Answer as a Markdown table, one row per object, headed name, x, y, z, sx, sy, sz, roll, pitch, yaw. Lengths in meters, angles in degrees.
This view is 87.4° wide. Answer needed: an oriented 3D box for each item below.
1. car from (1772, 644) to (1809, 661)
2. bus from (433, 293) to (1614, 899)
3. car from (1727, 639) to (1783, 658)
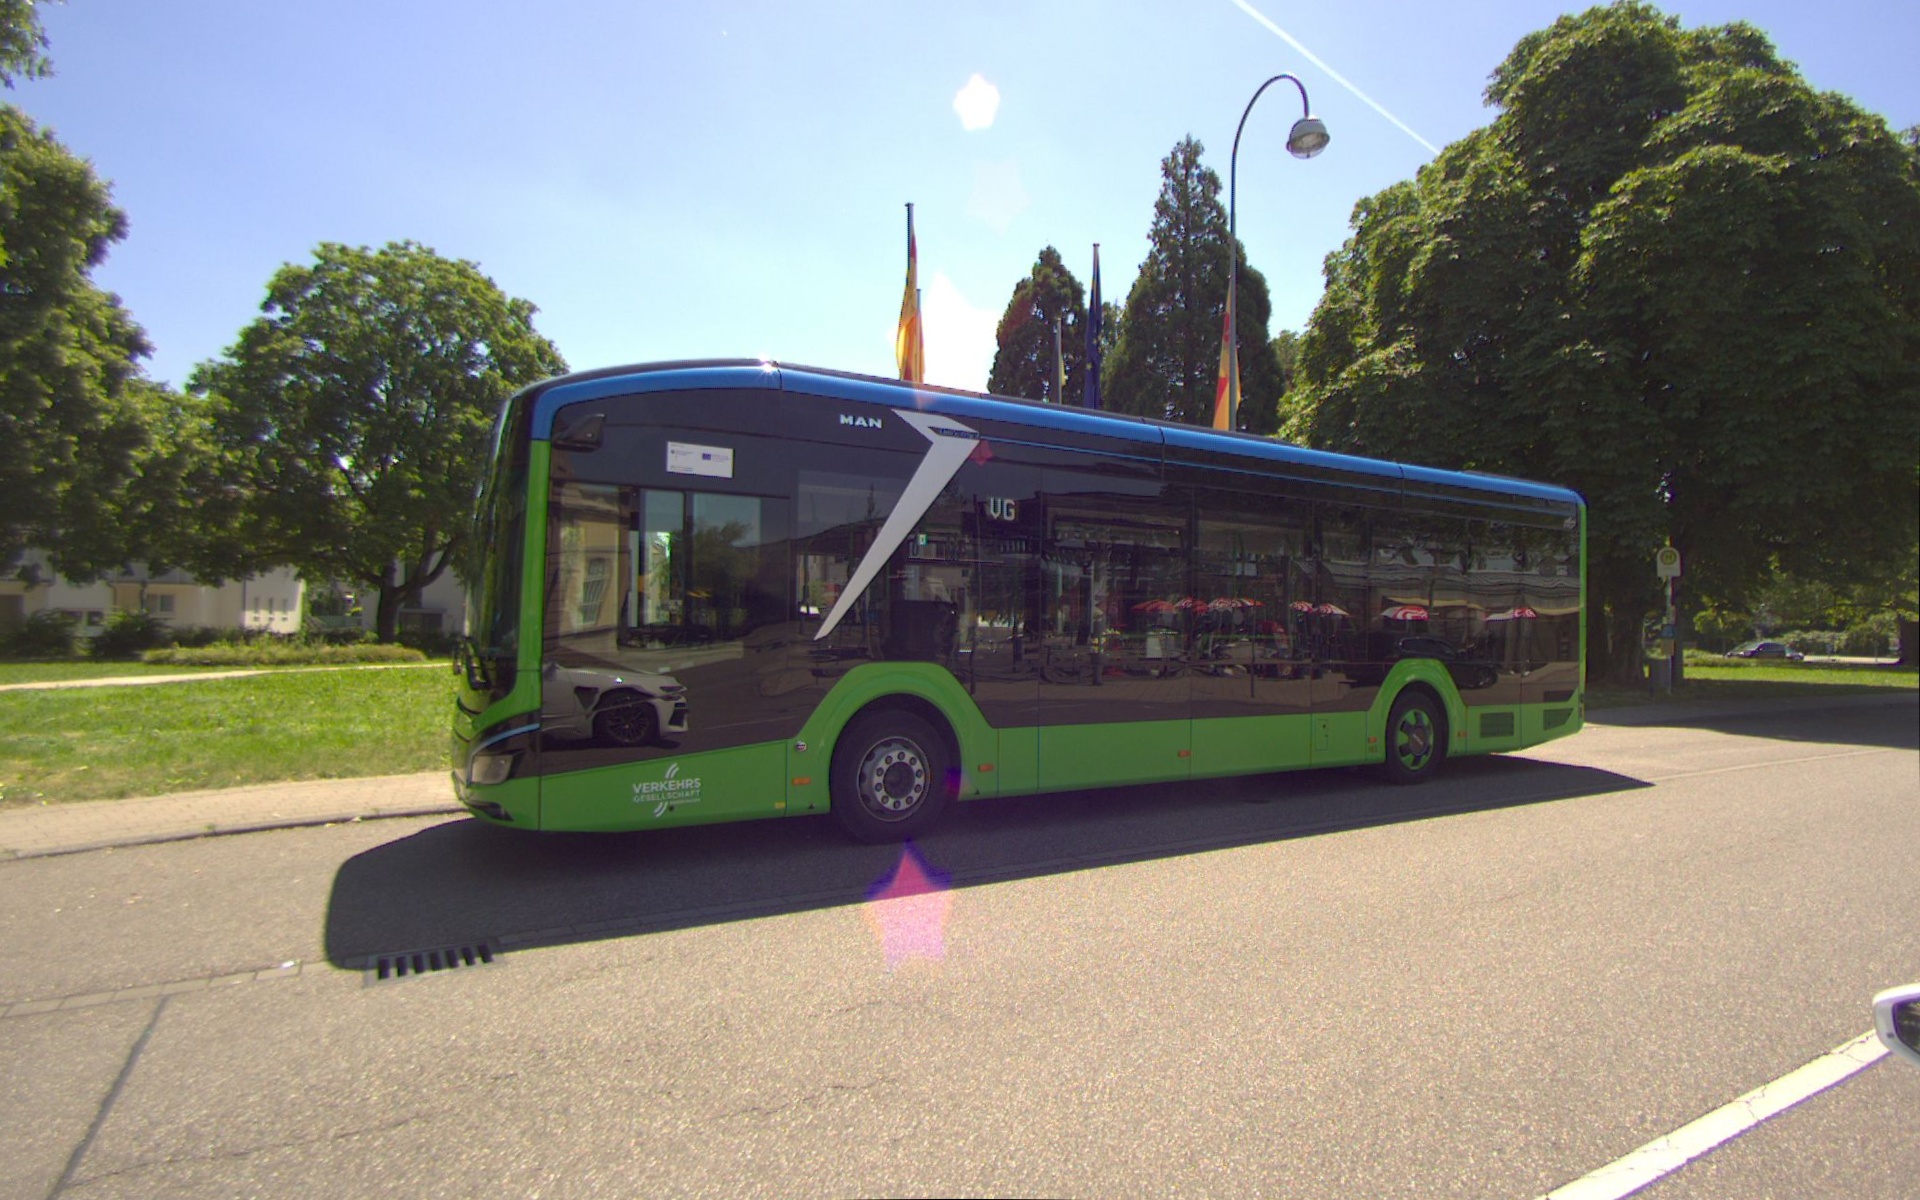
| name | x | y | z | sx | sy | sz | roll | pitch | yaw |
| --- | --- | --- | --- | --- | --- | --- | --- | --- | --- |
| car | 71.328 | 4.494 | 86.252 | 3.958 | 1.328 | 1.801 | 2 | -2 | -41 |
| bus | 1.814 | 0.137 | 9.923 | 12.283 | 3.326 | 2.794 | 2 | -2 | -31 |
| car | 61.525 | 3.754 | 77.764 | 3.740 | 1.429 | 1.550 | 1 | -2 | -16 |
